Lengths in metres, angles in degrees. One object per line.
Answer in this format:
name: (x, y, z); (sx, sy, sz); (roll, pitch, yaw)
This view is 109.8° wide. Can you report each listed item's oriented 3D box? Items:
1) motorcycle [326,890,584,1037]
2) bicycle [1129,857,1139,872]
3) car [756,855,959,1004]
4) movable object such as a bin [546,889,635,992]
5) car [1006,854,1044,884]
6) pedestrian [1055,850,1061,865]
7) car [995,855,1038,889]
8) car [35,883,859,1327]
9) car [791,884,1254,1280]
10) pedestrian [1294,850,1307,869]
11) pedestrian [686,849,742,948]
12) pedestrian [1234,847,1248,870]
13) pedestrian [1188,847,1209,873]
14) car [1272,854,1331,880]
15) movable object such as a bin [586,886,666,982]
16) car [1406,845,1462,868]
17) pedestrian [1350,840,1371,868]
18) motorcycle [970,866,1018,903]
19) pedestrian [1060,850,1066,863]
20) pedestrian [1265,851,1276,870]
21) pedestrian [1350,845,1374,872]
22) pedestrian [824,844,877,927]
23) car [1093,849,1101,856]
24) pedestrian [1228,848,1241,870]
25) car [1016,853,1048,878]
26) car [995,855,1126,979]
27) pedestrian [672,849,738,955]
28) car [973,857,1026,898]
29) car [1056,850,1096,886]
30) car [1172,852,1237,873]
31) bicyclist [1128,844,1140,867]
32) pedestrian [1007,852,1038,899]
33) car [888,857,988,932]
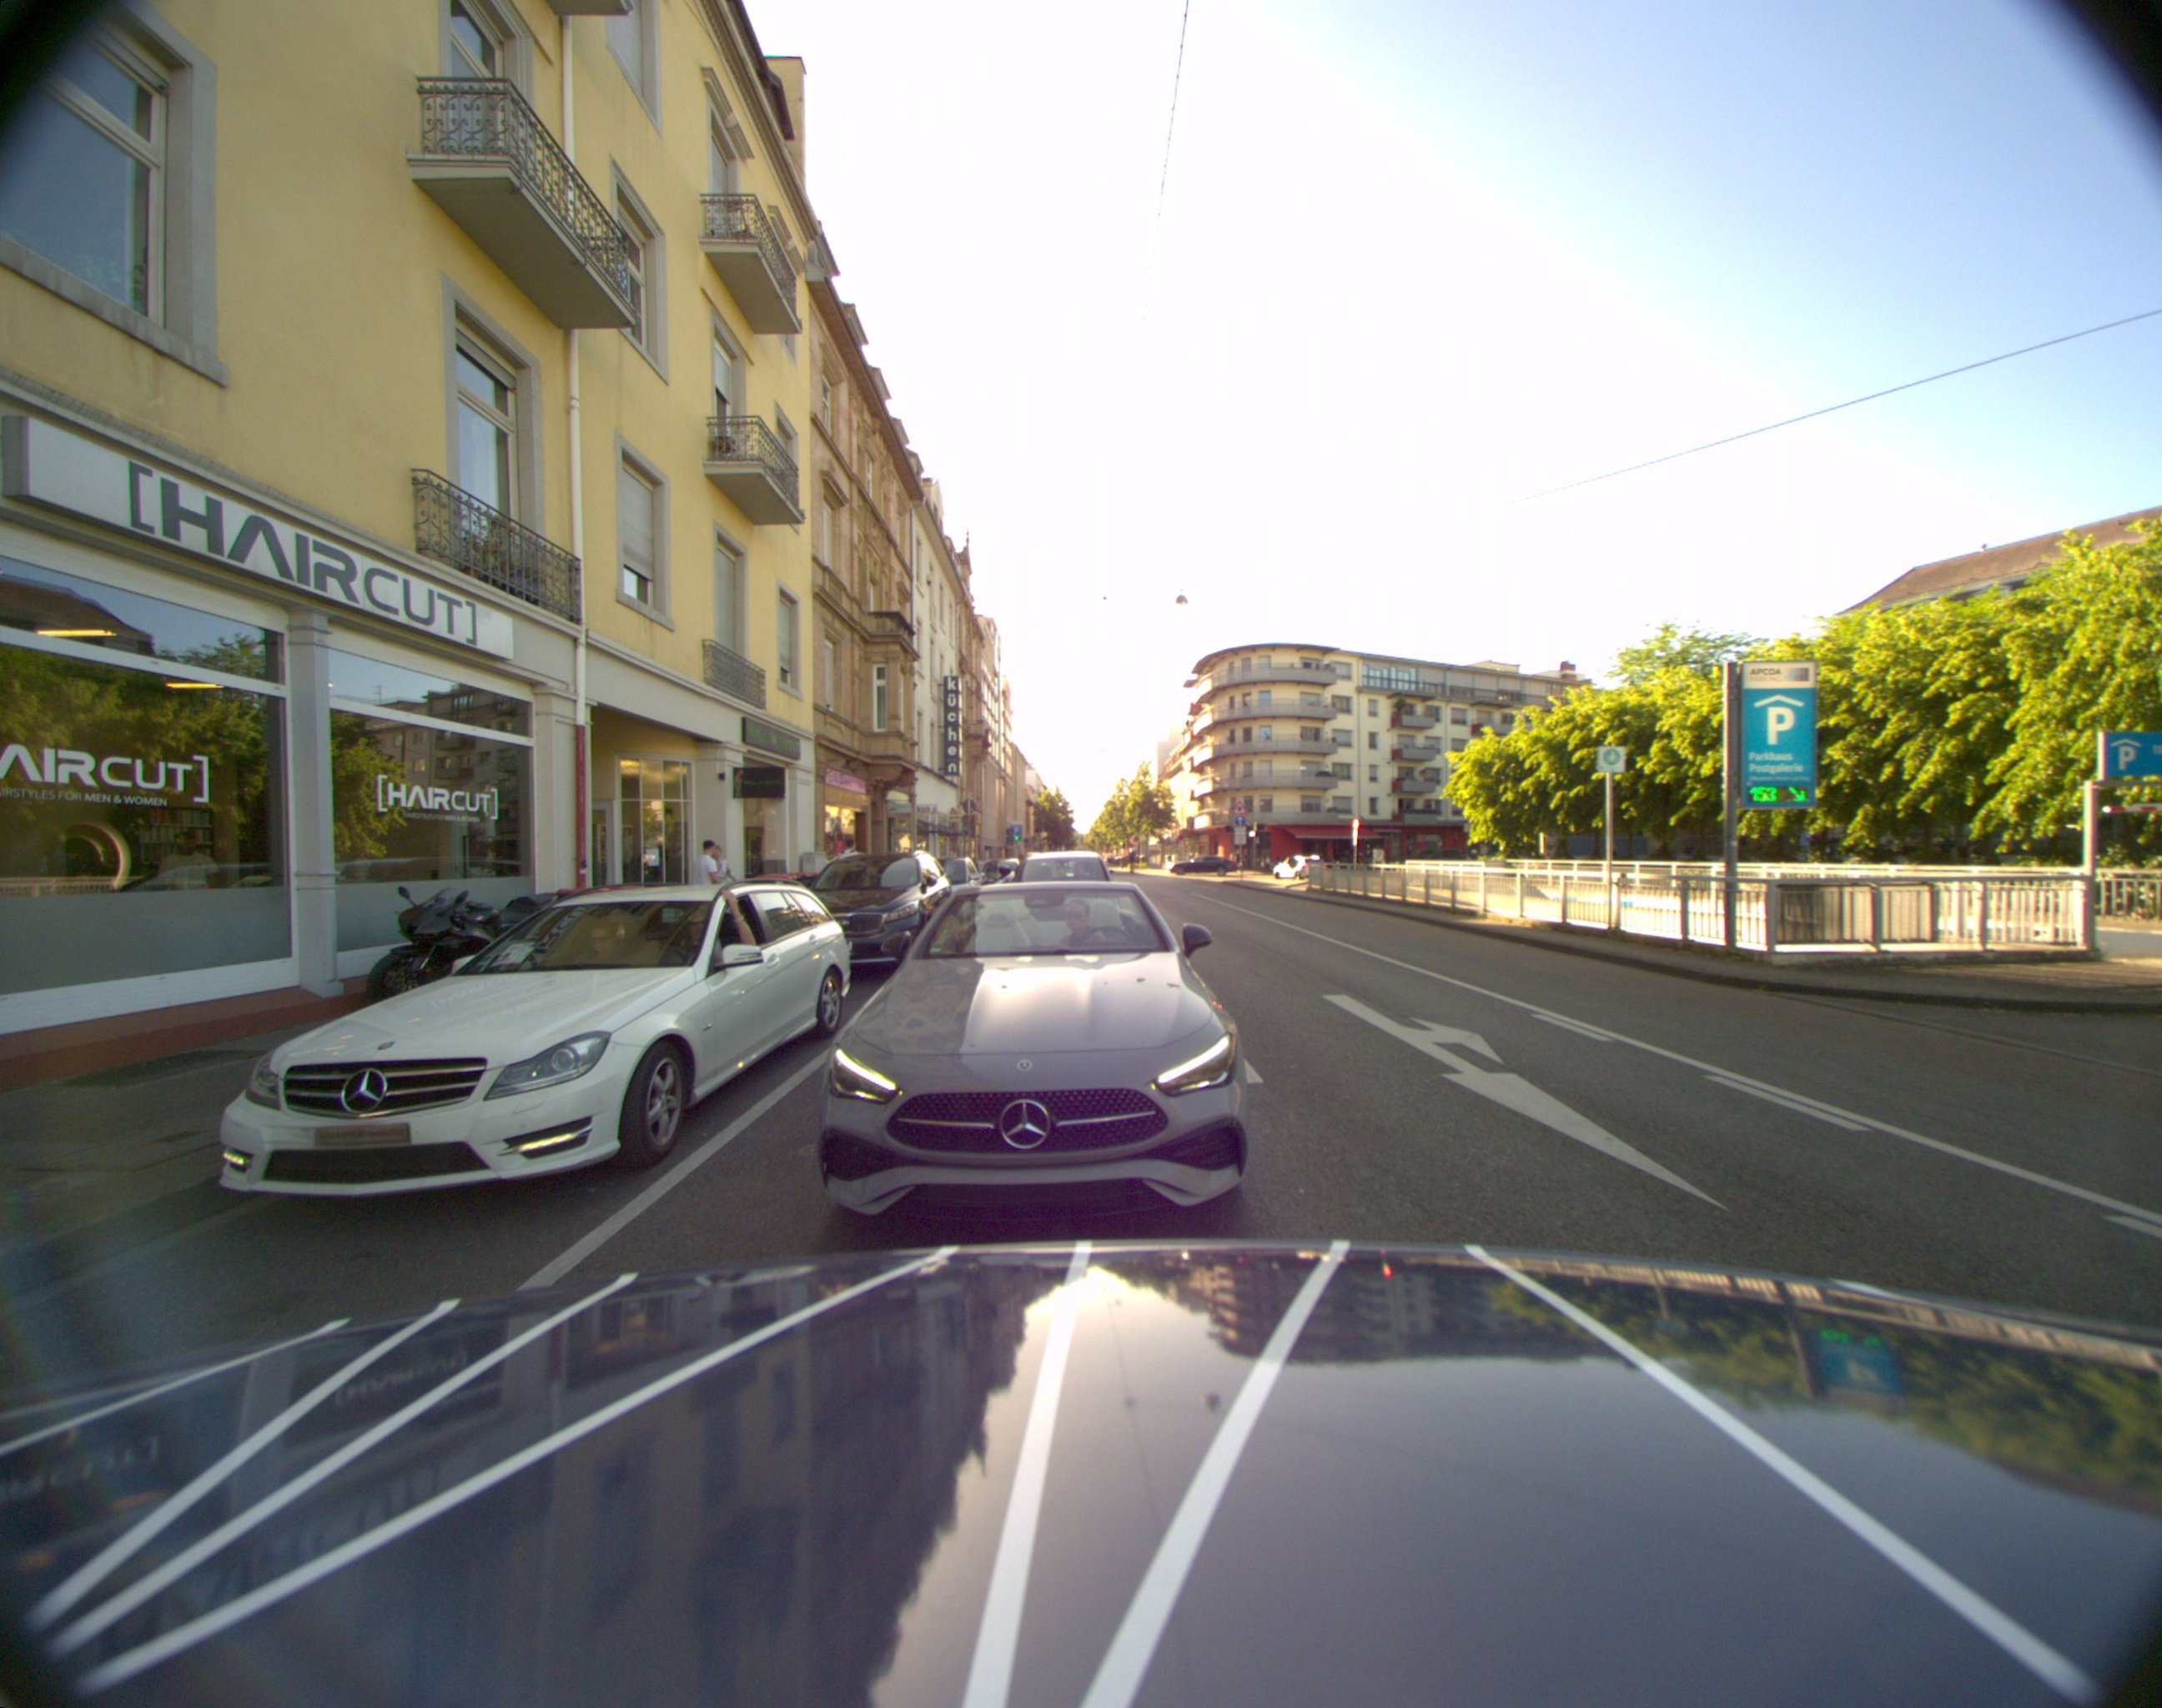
motorcycle: (-6.261, 1.021, 7.832); (0.773, 1.158, 2.247); (1, 0, 1)
bicycle: (3.890, 0.765, 55.789); (0.661, 1.083, 1.971); (-1, 0, 4)
car: (-3.015, 0.892, 11.342); (1.858, 1.688, 4.697); (-1, 0, -4)
movable object such as a bin: (-6.108, 1.061, 9.494); (0.647, 1.200, 0.644); (-1, 1, 1)
car: (-2.983, 0.763, 41.004); (1.715, 1.477, 3.999); (-1, 0, 0)
pedestrian: (-2.982, 0.419, 97.771); (0.528, 1.875, 0.567); (-2, 1, -29)
car: (-3.051, 0.813, 36.487); (1.715, 1.477, 3.999); (-1, 0, 0)
car: (-3.075, 1.043, 5.193); (1.759, 1.453, 4.597); (-1, 0, 0)
car: (-0.256, 1.018, 5.240); (1.849, 1.371, 4.255); (-2, 0, -1)
pedestrian: (17.689, 0.445, 61.160); (0.583, 1.453, 0.790); (-2, 1, -37)
pedestrian: (-6.182, 0.731, 12.827); (0.572, 1.607, 0.643); (-1, 1, 2)
pedestrian: (12.614, 0.375, 59.827); (0.756, 1.795, 0.755); (-2, 1, -41)
pedestrian: (9.208, 0.472, 59.369); (1.202, 2.002, 1.018); (-3, 1, -37)
car: (13.071, 0.757, 45.365); (1.803, 1.426, 4.248); (-1, 0, -8)
movable object such as a bin: (-6.058, 1.052, 10.146); (0.647, 1.200, 0.644); (-1, 1, 1)
car: (29.033, 0.181, 62.458); (4.004, 1.740, 1.996); (-2, 1, -23)
pedestrian: (20.542, 0.018, 55.791); (1.316, 2.002, 1.298); (-1, 1, 26)
motorcycle: (-3.057, 1.047, 26.793); (0.769, 1.225, 1.546); (-1, 1, 42)
pedestrian: (-2.352, 0.330, 98.163); (0.467, 1.769, 0.567); (-2, 1, -29)
pedestrian: (15.052, 0.505, 60.277); (0.791, 1.452, 0.583); (-1, 1, 10)
pedestrian: (21.883, 0.333, 59.176); (1.234, 2.002, 1.259); (-2, 1, -21)
pedestrian: (-4.596, 0.617, 15.216); (0.795, 1.607, 0.763); (-1, 1, -1)
car: (4.511, -0.437, 212.491); (1.998, 1.805, 4.000); (-1, 0, 1)
pedestrian: (12.047, 0.424, 59.591); (0.676, 1.696, 0.697); (-2, 1, -40)
car: (-3.025, 0.692, 47.599); (1.715, 1.477, 4.062); (-1, 0, 0)
car: (-0.251, 0.849, 12.183); (1.716, 1.599, 4.000); (-1, 0, 1)
pedestrian: (-5.881, 0.730, 11.916); (0.642, 1.607, 0.701); (-1, 1, -1)
car: (-3.225, 0.891, 30.732); (1.715, 1.477, 3.999); (-1, 0, 0)
car: (-0.212, 0.694, 39.944); (1.952, 1.742, 4.000); (-1, 0, 1)
car: (8.581, 0.598, 52.649); (4.281, 1.375, 2.002); (-1, 1, 13)
bicyclist: (3.900, 0.080, 55.860); (0.757, 1.651, 1.144); (-2, 1, 5)
pedestrian: (-2.128, 0.761, 27.671); (0.695, 1.657, 0.832); (-2, 1, -42)
car: (-3.280, 0.890, 17.971); (1.696, 1.559, 3.018); (-1, 0, 1)
